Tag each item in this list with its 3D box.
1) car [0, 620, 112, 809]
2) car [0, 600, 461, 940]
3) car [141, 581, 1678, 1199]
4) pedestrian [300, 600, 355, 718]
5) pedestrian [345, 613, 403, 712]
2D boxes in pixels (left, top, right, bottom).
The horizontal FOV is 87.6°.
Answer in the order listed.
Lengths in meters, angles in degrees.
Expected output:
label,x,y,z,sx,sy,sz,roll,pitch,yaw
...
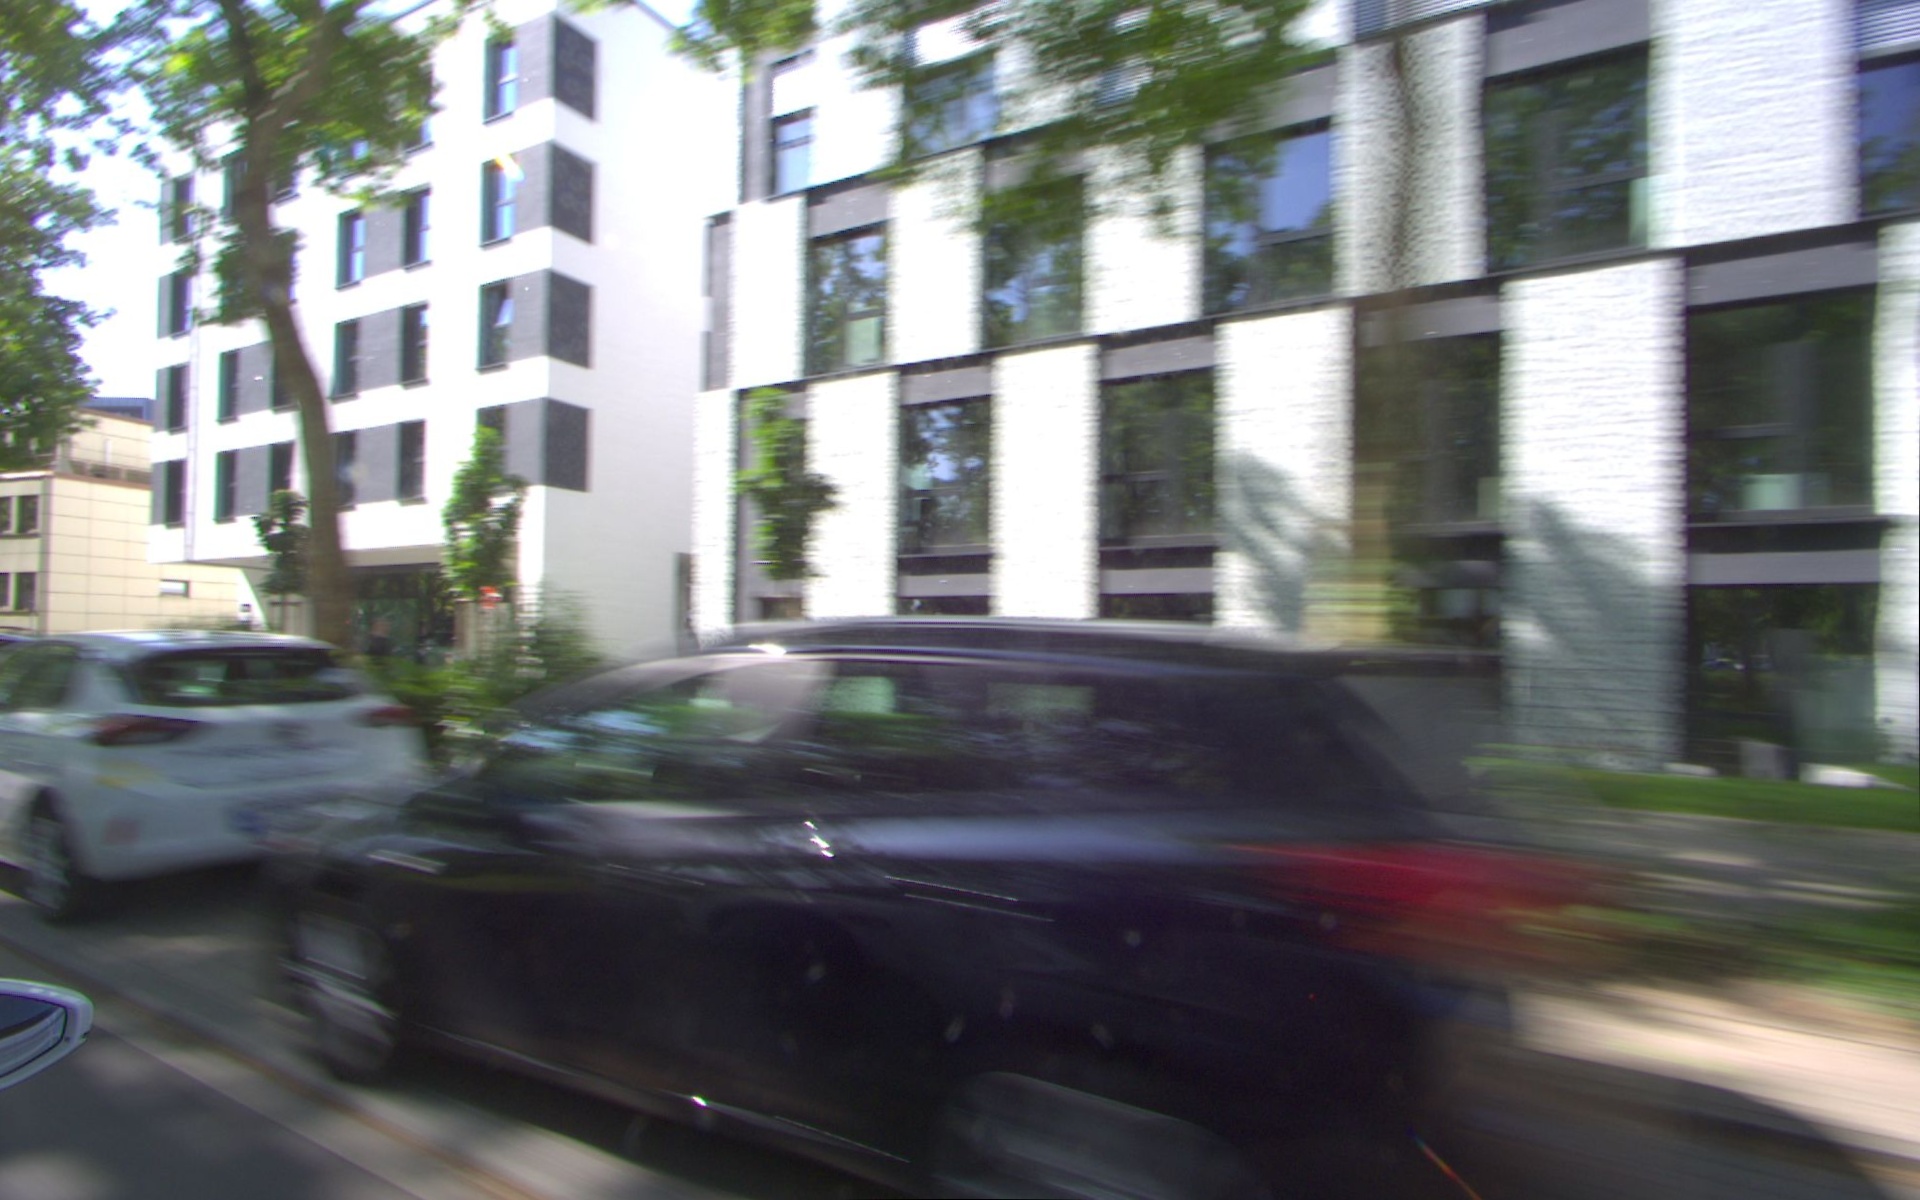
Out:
label,x,y,z,sx,sy,sz,roll,pitch,yaw
car,-9.502,0.909,8.898,4.589,1.473,1.704,-1,-2,32
car,-5.106,0.807,6.263,4.042,1.506,1.704,-1,-2,32
car,-0.583,0.763,3.346,4.646,1.507,1.706,0,-1,28
pedestrian,-10.064,0.927,15.930,0.628,1.831,0.475,0,-2,31
pedestrian,-9.714,1.027,16.597,0.562,1.601,0.612,0,-2,31
